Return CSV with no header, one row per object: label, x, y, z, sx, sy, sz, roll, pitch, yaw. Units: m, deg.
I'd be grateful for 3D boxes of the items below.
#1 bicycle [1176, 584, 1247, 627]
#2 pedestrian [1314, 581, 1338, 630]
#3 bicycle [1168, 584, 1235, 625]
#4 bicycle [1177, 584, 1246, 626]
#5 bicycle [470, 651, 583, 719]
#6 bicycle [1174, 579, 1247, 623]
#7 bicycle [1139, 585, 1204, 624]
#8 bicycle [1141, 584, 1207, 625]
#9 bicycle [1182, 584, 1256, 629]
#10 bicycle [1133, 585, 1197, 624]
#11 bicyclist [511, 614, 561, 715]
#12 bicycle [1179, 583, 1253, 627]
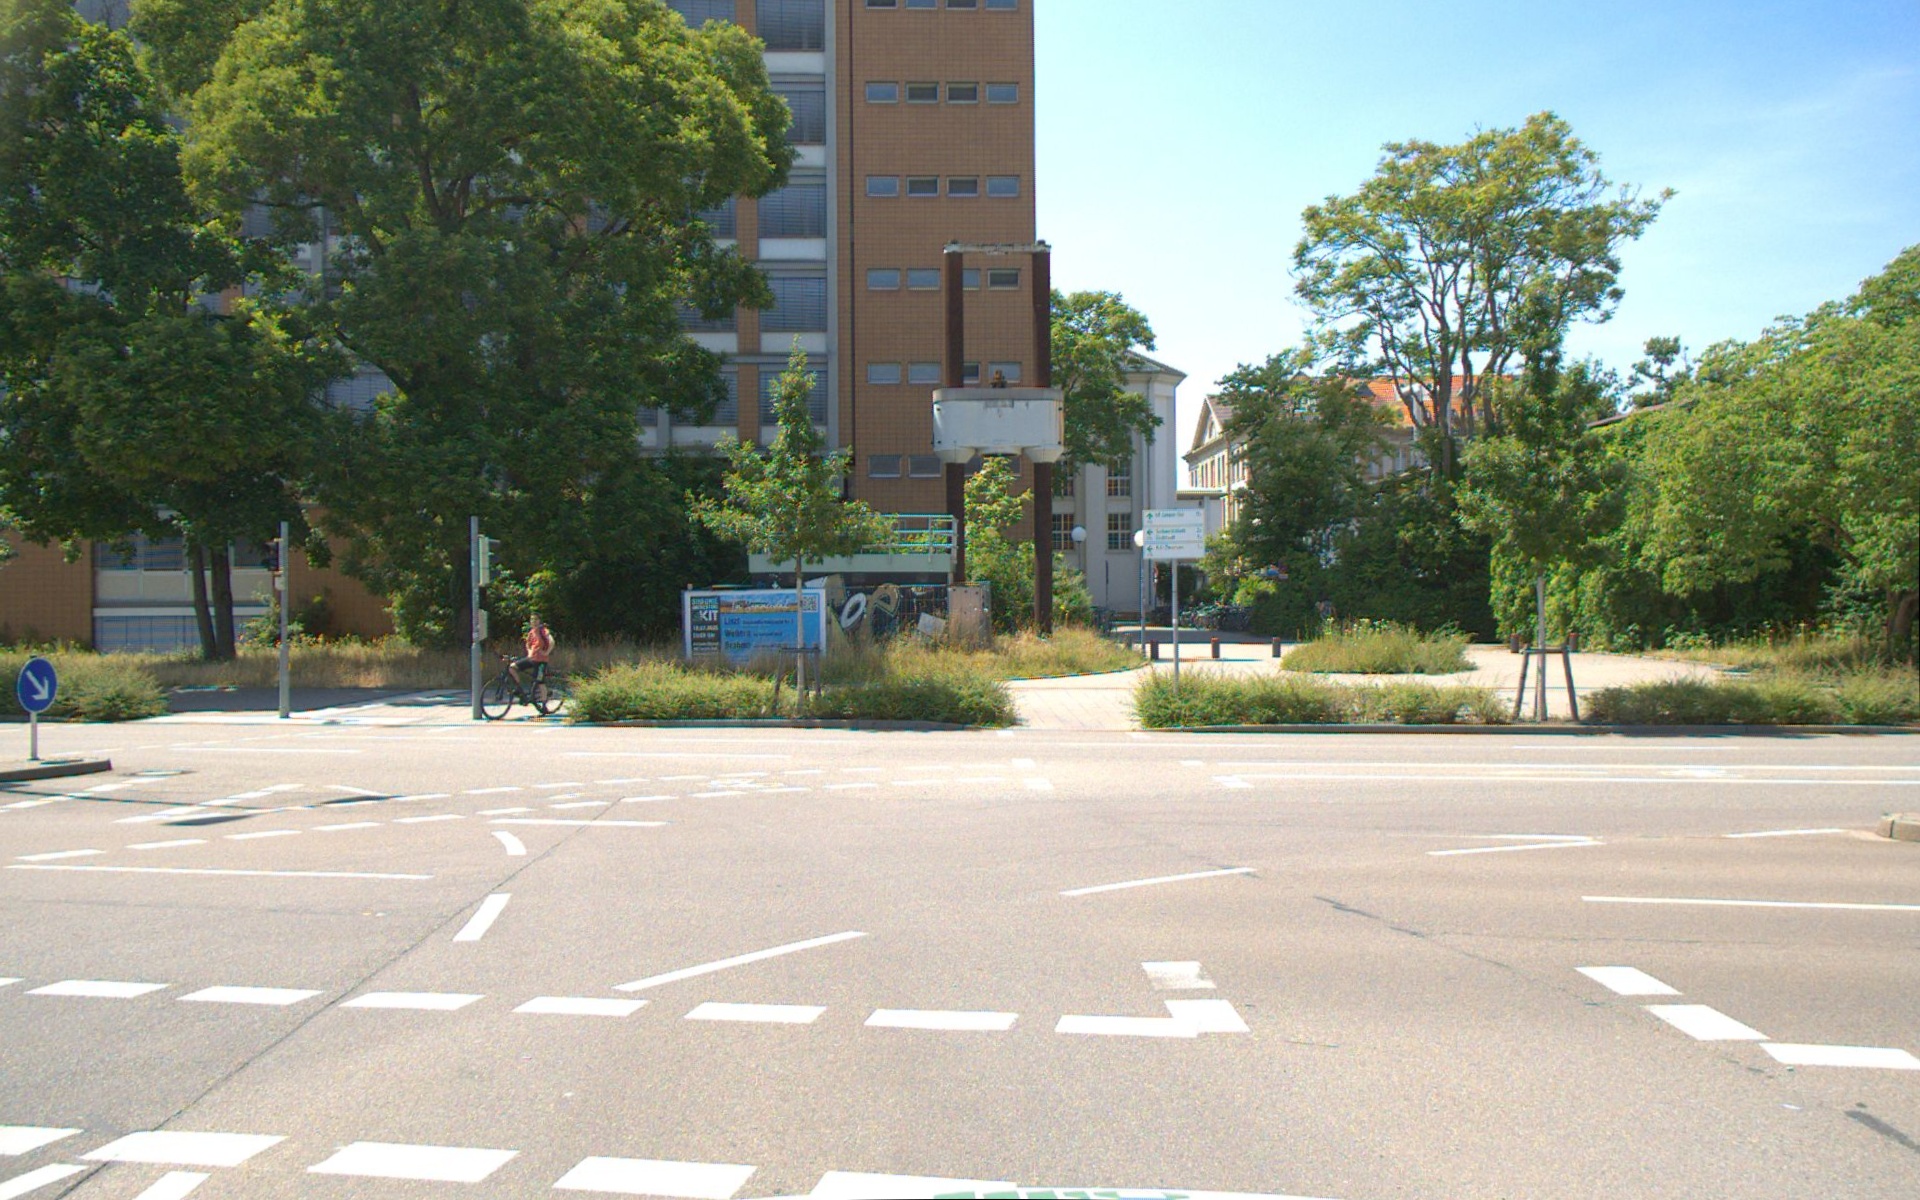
bicycle,12.499,0.265,82.232,3.376,2.049,0.760,1,0,1
pedestrian,12.662,0.186,57.307,0.626,1.694,0.706,1,0,-2
bicycle,12.637,0.233,86.660,3.376,2.049,0.760,1,0,1
bicycle,12.808,0.238,84.441,3.376,2.049,0.760,1,0,1
bicycle,-7.686,1.487,29.383,0.548,1.063,1.986,1,2,41
bicycle,12.213,0.071,80.672,3.376,2.049,0.760,1,0,1
bicycle,11.439,0.246,89.500,3.376,2.049,0.760,1,0,1
bicycle,11.435,0.238,88.377,3.376,2.049,0.760,1,0,1
bicycle,12.248,0.294,78.213,3.376,2.049,0.760,1,0,1
bicycle,11.253,0.260,90.719,3.376,2.049,0.760,1,0,1
bicyclist,-7.561,1.145,29.507,0.541,1.745,0.699,1,1,40
bicycle,12.249,0.233,79.270,3.376,2.049,0.760,1,0,1
